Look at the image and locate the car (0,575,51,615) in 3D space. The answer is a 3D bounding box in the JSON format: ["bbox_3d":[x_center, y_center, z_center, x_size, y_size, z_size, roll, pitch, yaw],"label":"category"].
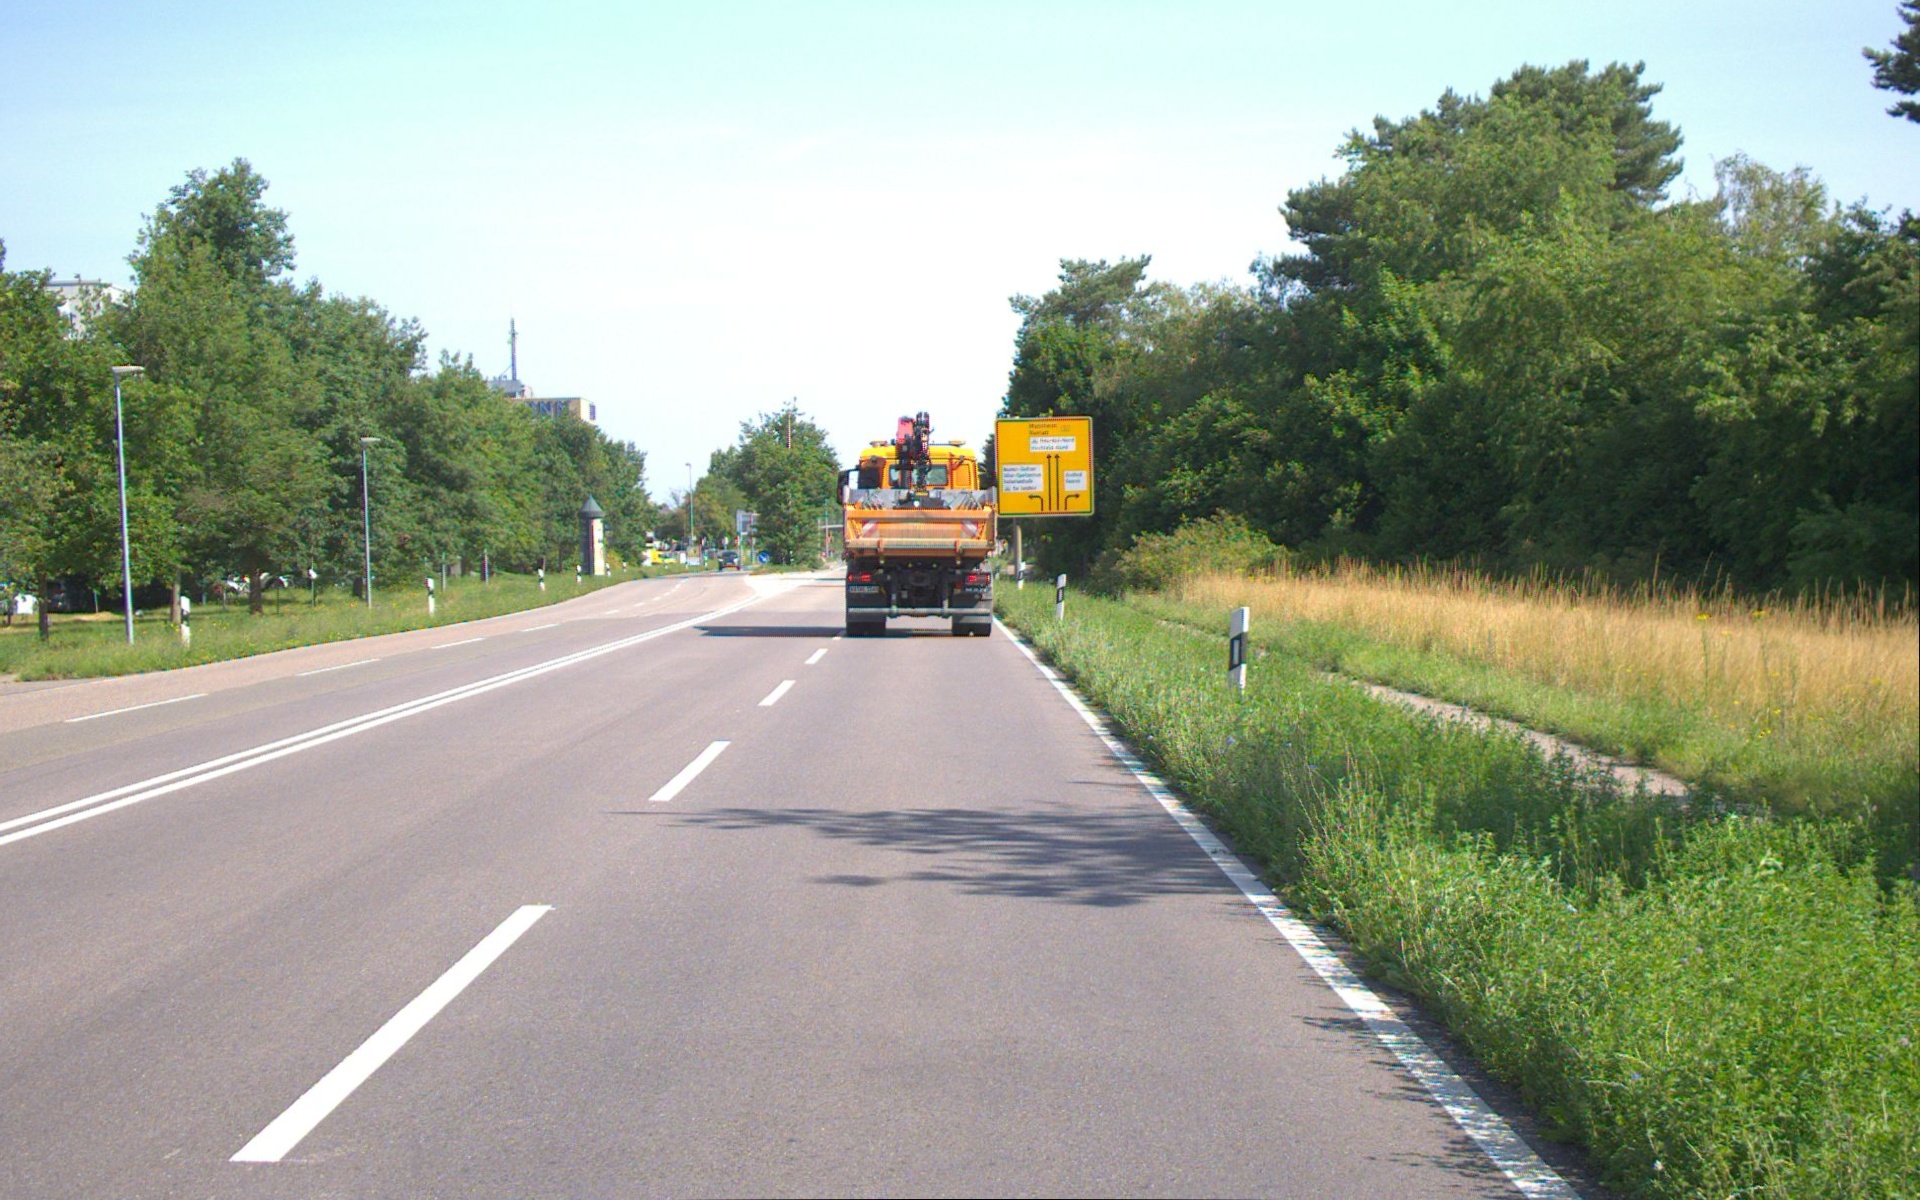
[{"bbox_3d":[-36.407,-0.185,131.192,1.993,1.432,4.955,-1,1,1],"label":"car"}]

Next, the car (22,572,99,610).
[{"bbox_3d":[-36.908,-0.382,141.153,1.993,1.432,4.610,-1,1,-1],"label":"car"}]

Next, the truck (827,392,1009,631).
[{"bbox_3d":[-0.827,-1.505,59.996,2.871,3.867,7.401,1,1,-3],"label":"truck"}]
